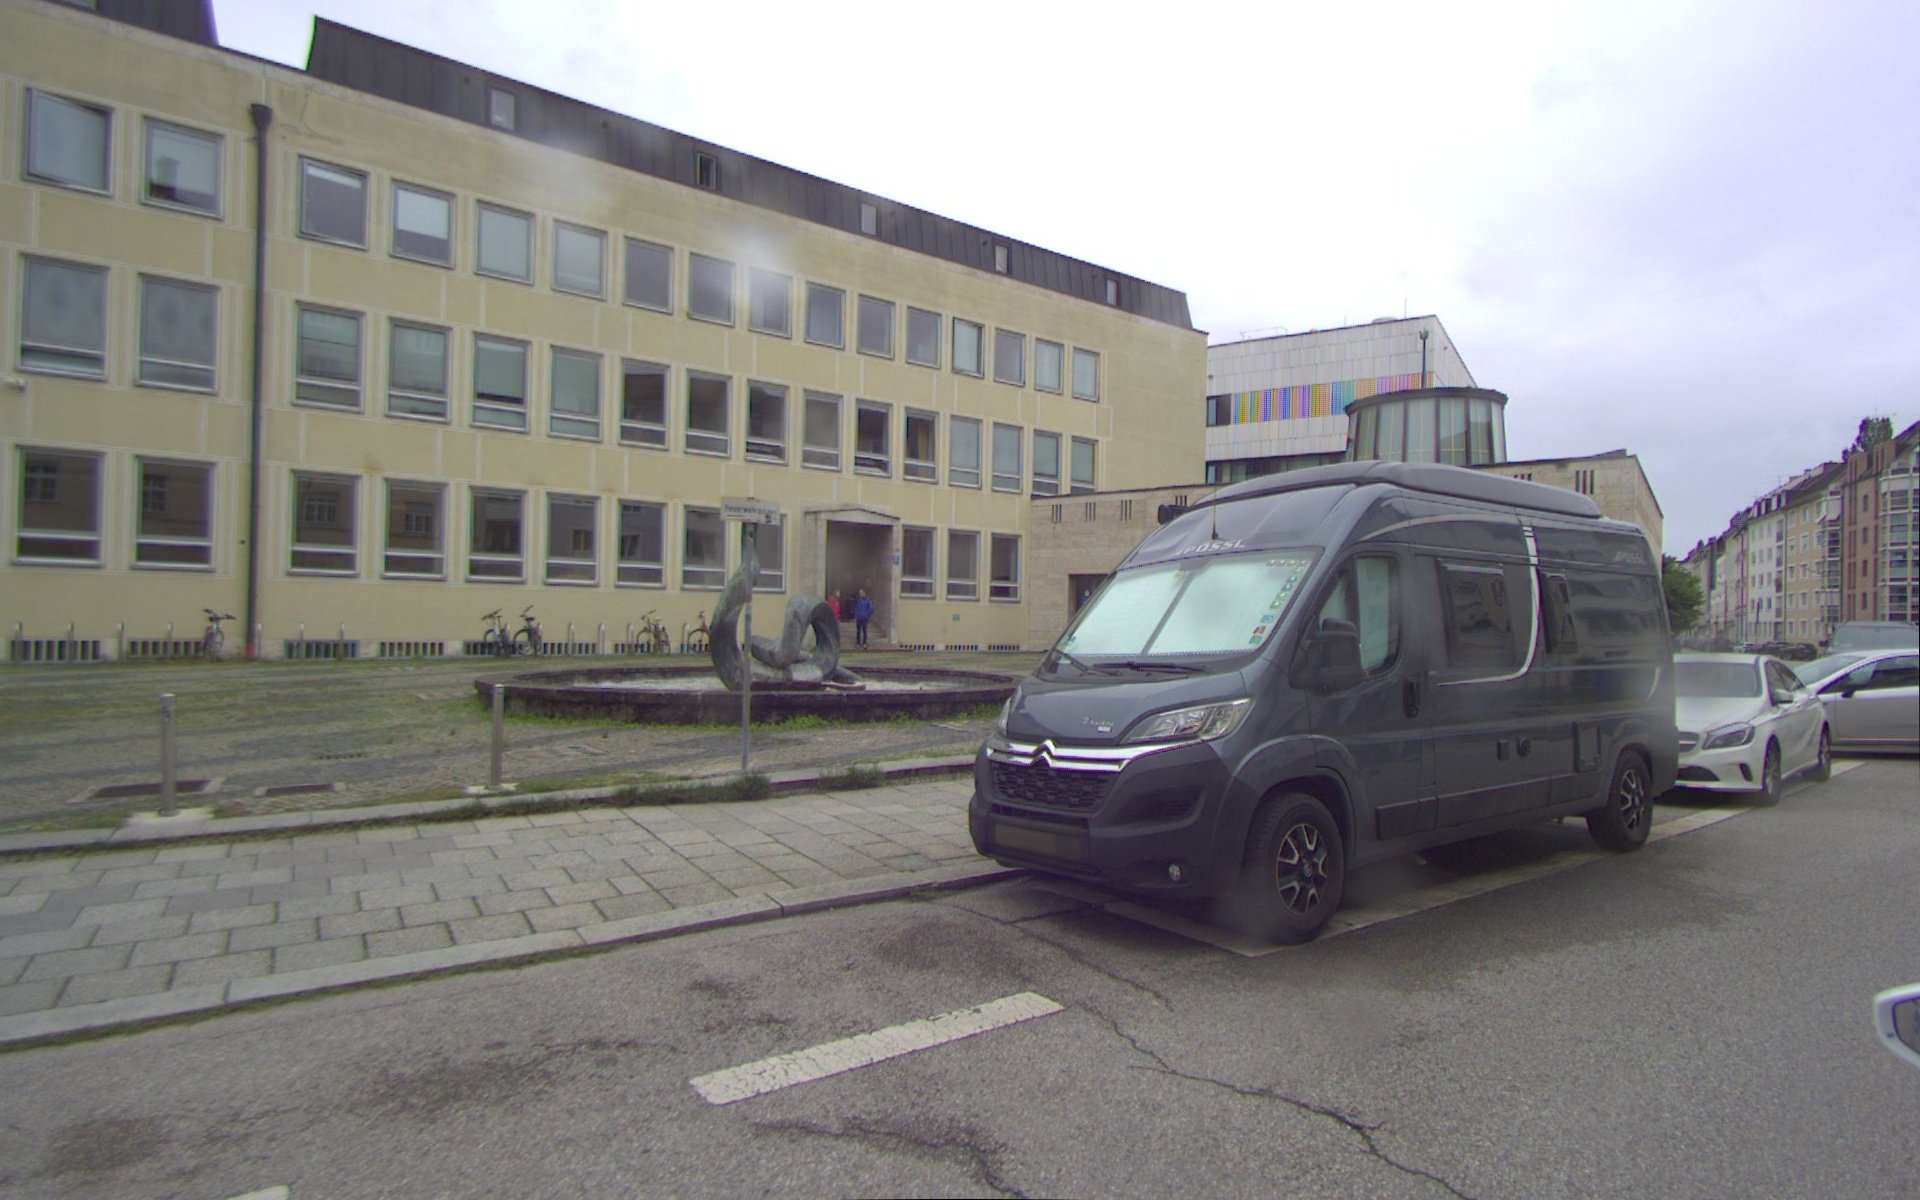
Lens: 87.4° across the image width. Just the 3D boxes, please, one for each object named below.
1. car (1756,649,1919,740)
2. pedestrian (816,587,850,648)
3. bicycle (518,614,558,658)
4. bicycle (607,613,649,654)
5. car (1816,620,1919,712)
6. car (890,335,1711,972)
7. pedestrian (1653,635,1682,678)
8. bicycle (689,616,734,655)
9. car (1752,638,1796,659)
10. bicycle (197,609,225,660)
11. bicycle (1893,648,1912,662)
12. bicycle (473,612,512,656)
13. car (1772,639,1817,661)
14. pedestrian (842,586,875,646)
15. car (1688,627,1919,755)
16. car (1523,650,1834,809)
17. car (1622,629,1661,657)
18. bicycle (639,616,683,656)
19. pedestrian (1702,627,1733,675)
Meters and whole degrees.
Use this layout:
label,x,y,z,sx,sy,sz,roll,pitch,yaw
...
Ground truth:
label,x,y,z,sx,sy,sz,roll,pitch,yaw
car,15.490,1.483,16.054,3.926,1.391,1.751,-1,-3,15
pedestrian,-3.771,0.522,29.843,0.642,1.767,0.708,2,1,-41
bicycle,-10.310,0.873,24.512,0.527,0.953,1.866,2,1,-34
bicycle,-8.660,0.861,26.134,0.434,0.929,1.887,2,1,-37
car,20.411,1.398,22.375,1.971,1.795,4.790,1,-1,41
car,2.701,0.336,6.808,6.152,2.608,2.129,2,-3,-36
pedestrian,27.258,2.167,38.692,0.631,1.622,0.606,3,1,8
bicycle,-6.756,0.958,27.271,0.434,0.929,1.887,2,1,-37
car,75.707,4.479,93.454,1.933,1.623,4.668,3,0,23
bicycle,-15.685,0.706,21.038,0.434,0.929,1.887,2,1,-37
bicycle,77.474,4.507,82.560,0.478,1.074,1.994,3,-1,24
bicycle,-11.205,0.802,24.054,0.434,0.929,1.887,2,1,-37
car,73.700,4.382,88.768,1.801,1.623,4.263,3,0,23
pedestrian,-3.067,0.480,30.461,0.642,1.767,0.708,2,1,-41
car,12.835,1.273,14.052,3.904,1.550,1.675,3,1,18
car,7.958,1.275,10.995,4.109,1.405,1.812,2,-5,-41
car,68.975,4.352,101.766,2.384,2.750,5.948,0,-3,26
bicycle,-7.801,0.922,26.191,0.434,0.929,1.887,2,1,-37
pedestrian,29.351,1.966,38.908,0.785,1.763,0.816,3,1,44
